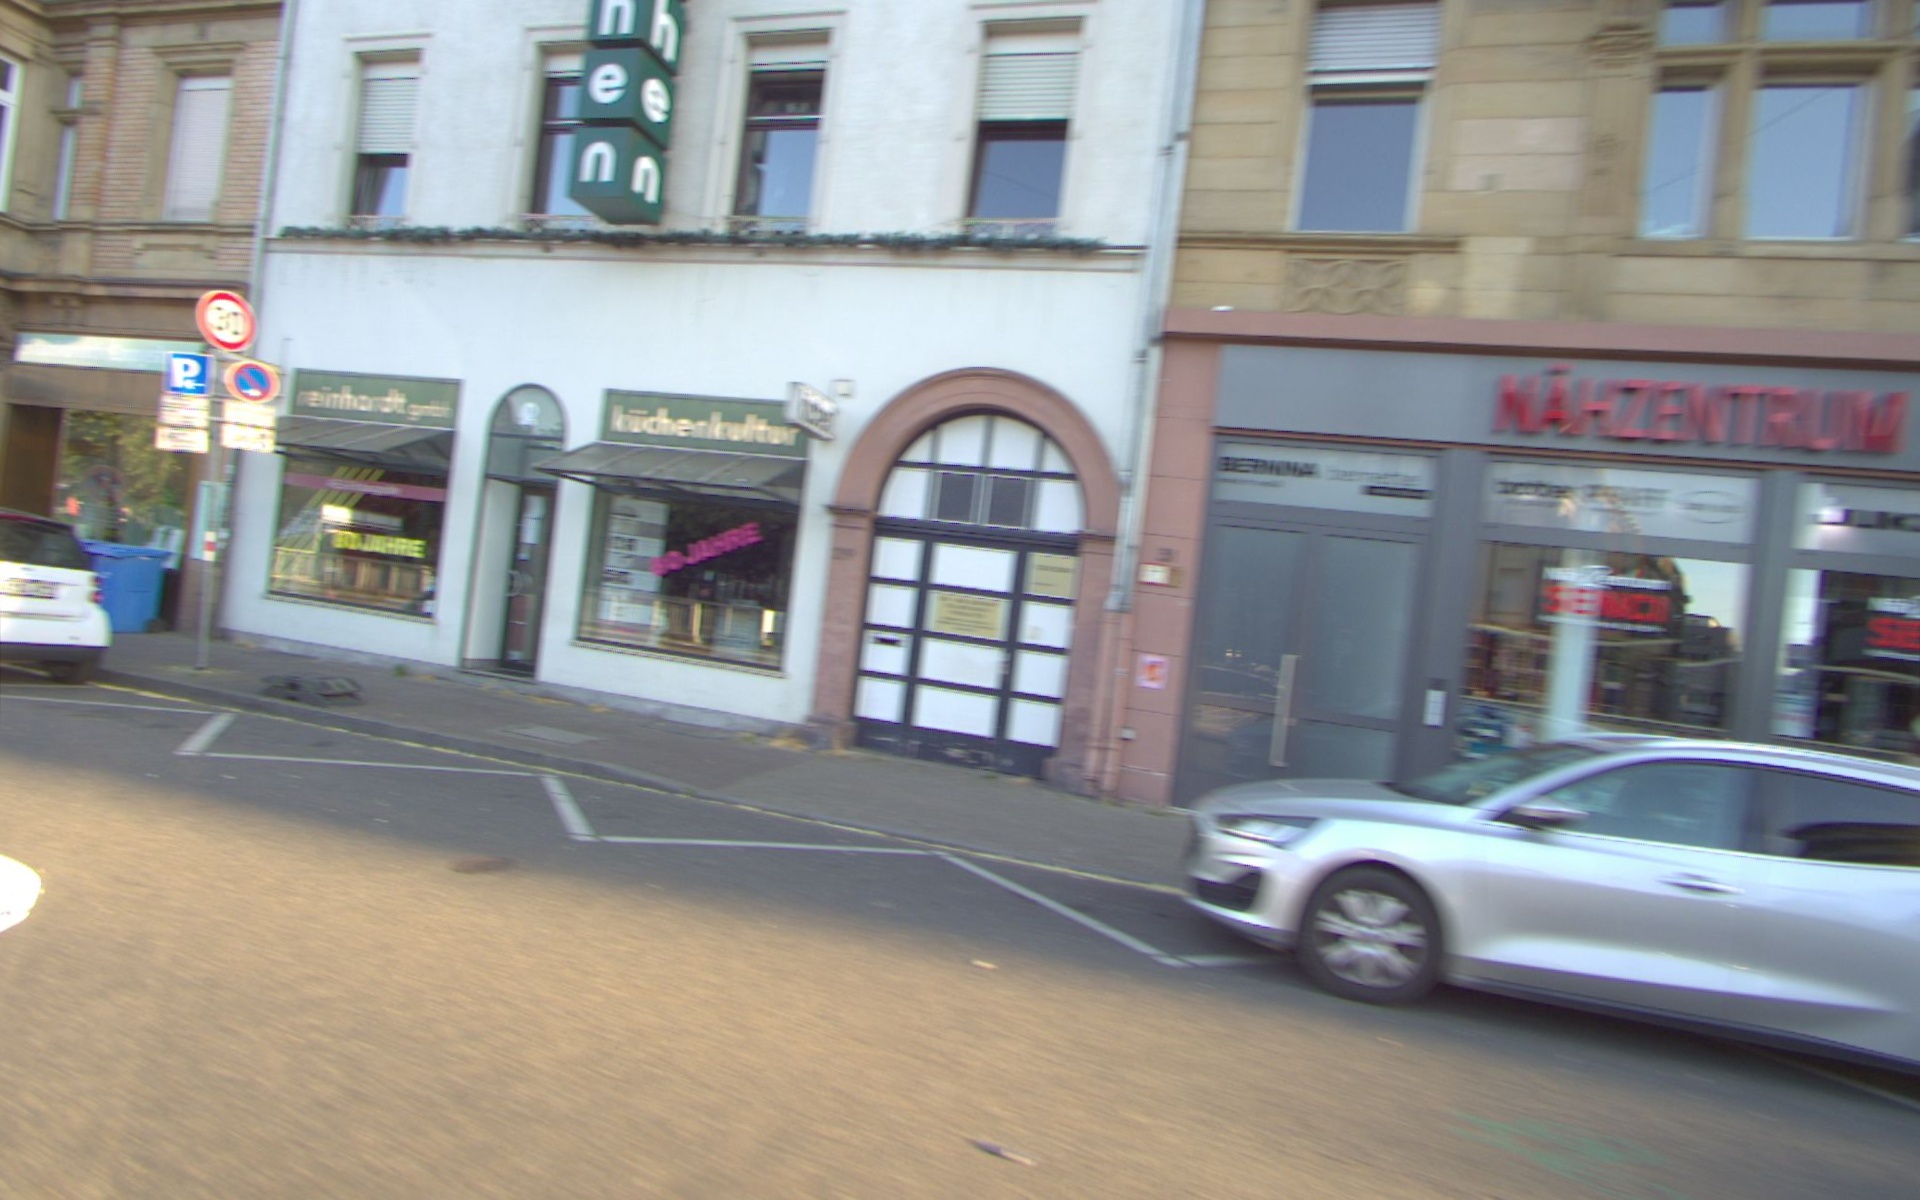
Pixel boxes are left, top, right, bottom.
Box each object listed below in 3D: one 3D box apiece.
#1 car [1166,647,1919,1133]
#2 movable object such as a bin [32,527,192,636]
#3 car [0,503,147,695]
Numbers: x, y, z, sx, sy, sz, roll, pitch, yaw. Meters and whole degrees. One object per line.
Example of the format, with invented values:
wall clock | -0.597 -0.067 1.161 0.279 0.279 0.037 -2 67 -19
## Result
car | 3.573 1.391 5.340 4.593 1.553 2.002 8 -1 15
movable object such as a bin | -10.927 -0.228 12.982 1.372 1.200 0.870 7 -1 16
car | -10.020 -0.233 9.418 3.924 1.603 1.707 8 -1 17
